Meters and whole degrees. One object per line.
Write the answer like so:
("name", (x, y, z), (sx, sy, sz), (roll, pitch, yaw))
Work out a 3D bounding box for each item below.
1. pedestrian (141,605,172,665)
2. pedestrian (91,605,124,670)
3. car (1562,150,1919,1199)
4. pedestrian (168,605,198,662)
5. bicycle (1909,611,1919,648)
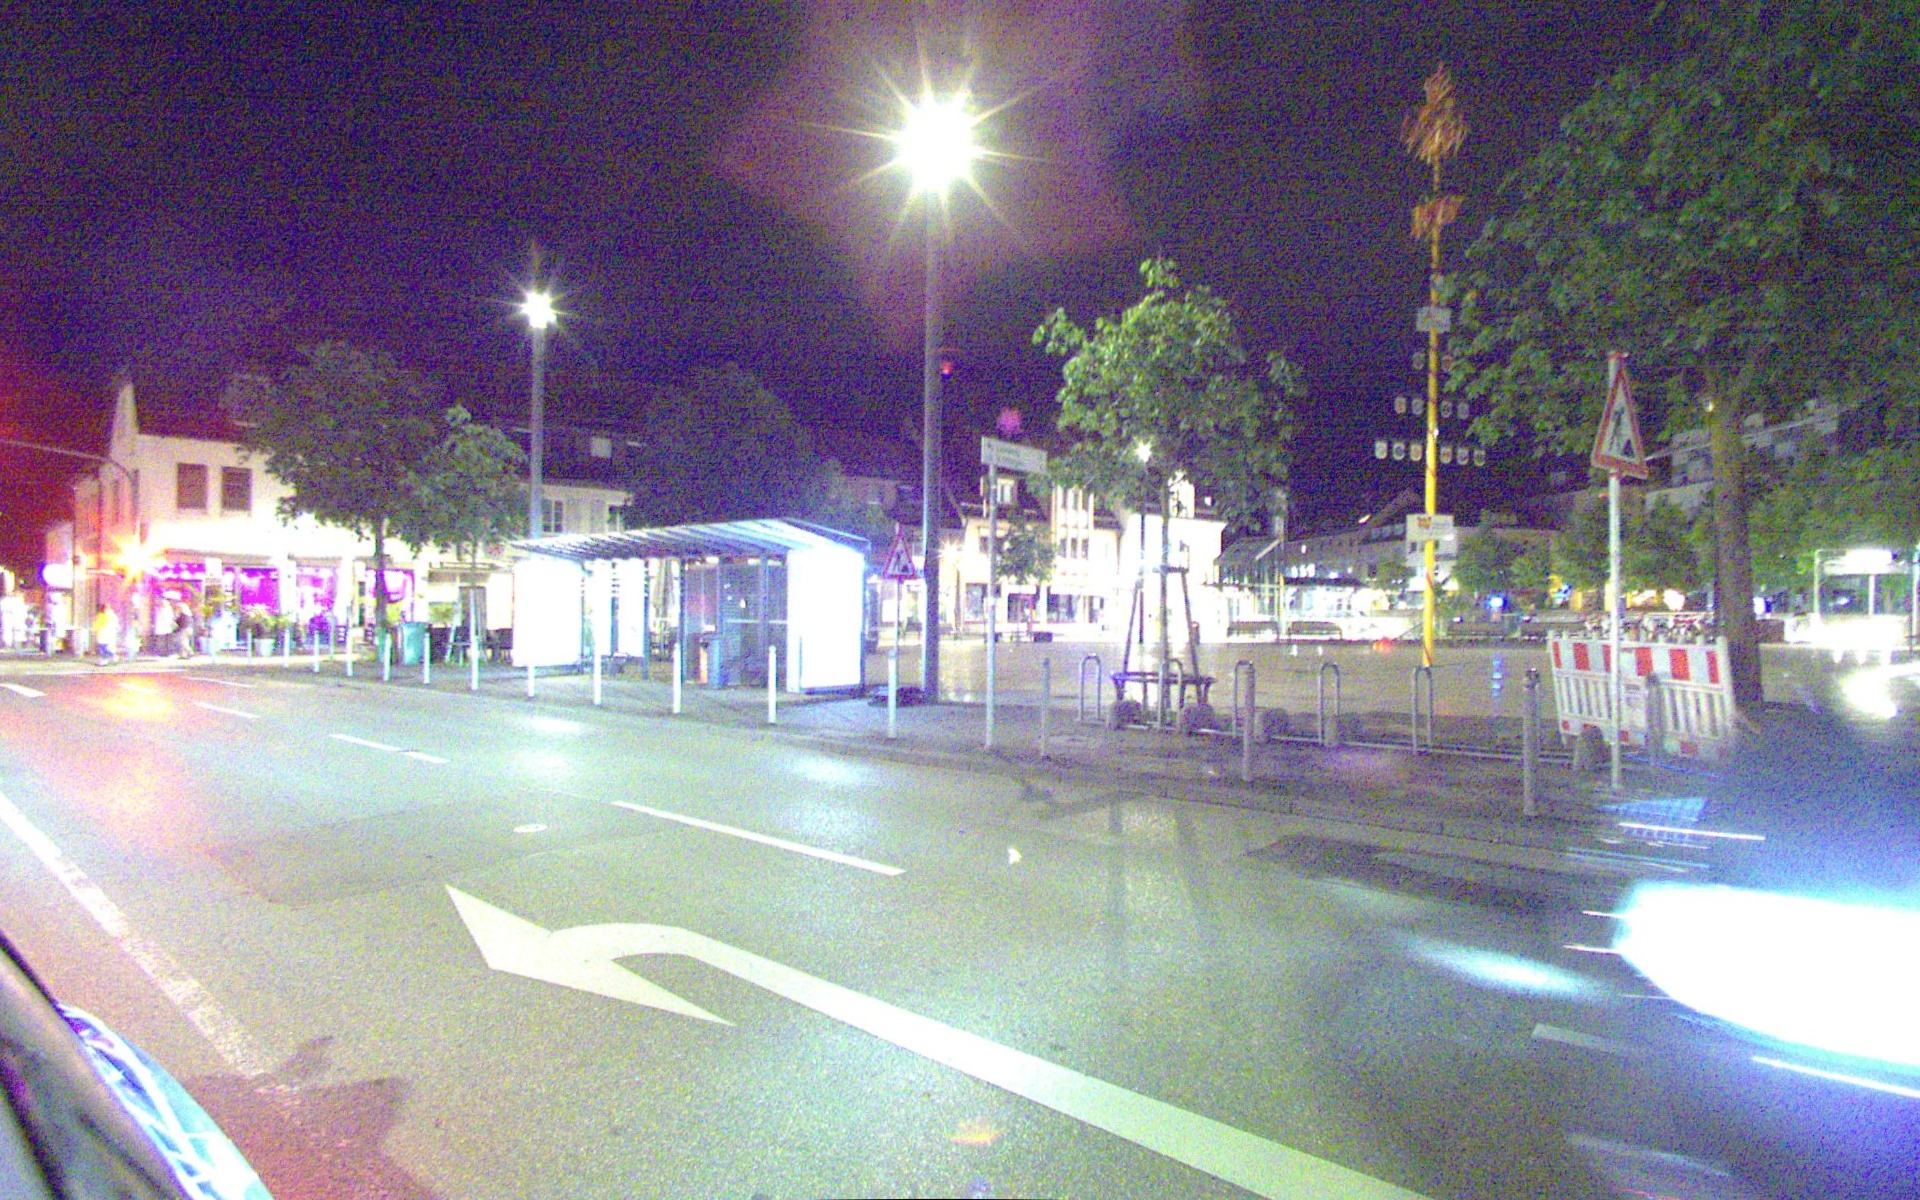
("pedestrian", (-23.238, 0.999, 29.272), (0.573, 1.694, 0.649), (-1, 0, -27))
("pedestrian", (-22.899, 0.992, 27.204), (0.531, 1.694, 0.649), (-1, 0, -27))
("car", (3.557, 0.376, 1.077), (4.890, 1.886, 1.954), (0, -1, 29))
("pedestrian", (-22.730, 0.963, 29.600), (0.573, 1.640, 0.649), (-1, 0, -27))
("bicycle", (26.414, 0.785, 26.993), (1.525, 0.965, 0.476), (-1, 0, 25))
